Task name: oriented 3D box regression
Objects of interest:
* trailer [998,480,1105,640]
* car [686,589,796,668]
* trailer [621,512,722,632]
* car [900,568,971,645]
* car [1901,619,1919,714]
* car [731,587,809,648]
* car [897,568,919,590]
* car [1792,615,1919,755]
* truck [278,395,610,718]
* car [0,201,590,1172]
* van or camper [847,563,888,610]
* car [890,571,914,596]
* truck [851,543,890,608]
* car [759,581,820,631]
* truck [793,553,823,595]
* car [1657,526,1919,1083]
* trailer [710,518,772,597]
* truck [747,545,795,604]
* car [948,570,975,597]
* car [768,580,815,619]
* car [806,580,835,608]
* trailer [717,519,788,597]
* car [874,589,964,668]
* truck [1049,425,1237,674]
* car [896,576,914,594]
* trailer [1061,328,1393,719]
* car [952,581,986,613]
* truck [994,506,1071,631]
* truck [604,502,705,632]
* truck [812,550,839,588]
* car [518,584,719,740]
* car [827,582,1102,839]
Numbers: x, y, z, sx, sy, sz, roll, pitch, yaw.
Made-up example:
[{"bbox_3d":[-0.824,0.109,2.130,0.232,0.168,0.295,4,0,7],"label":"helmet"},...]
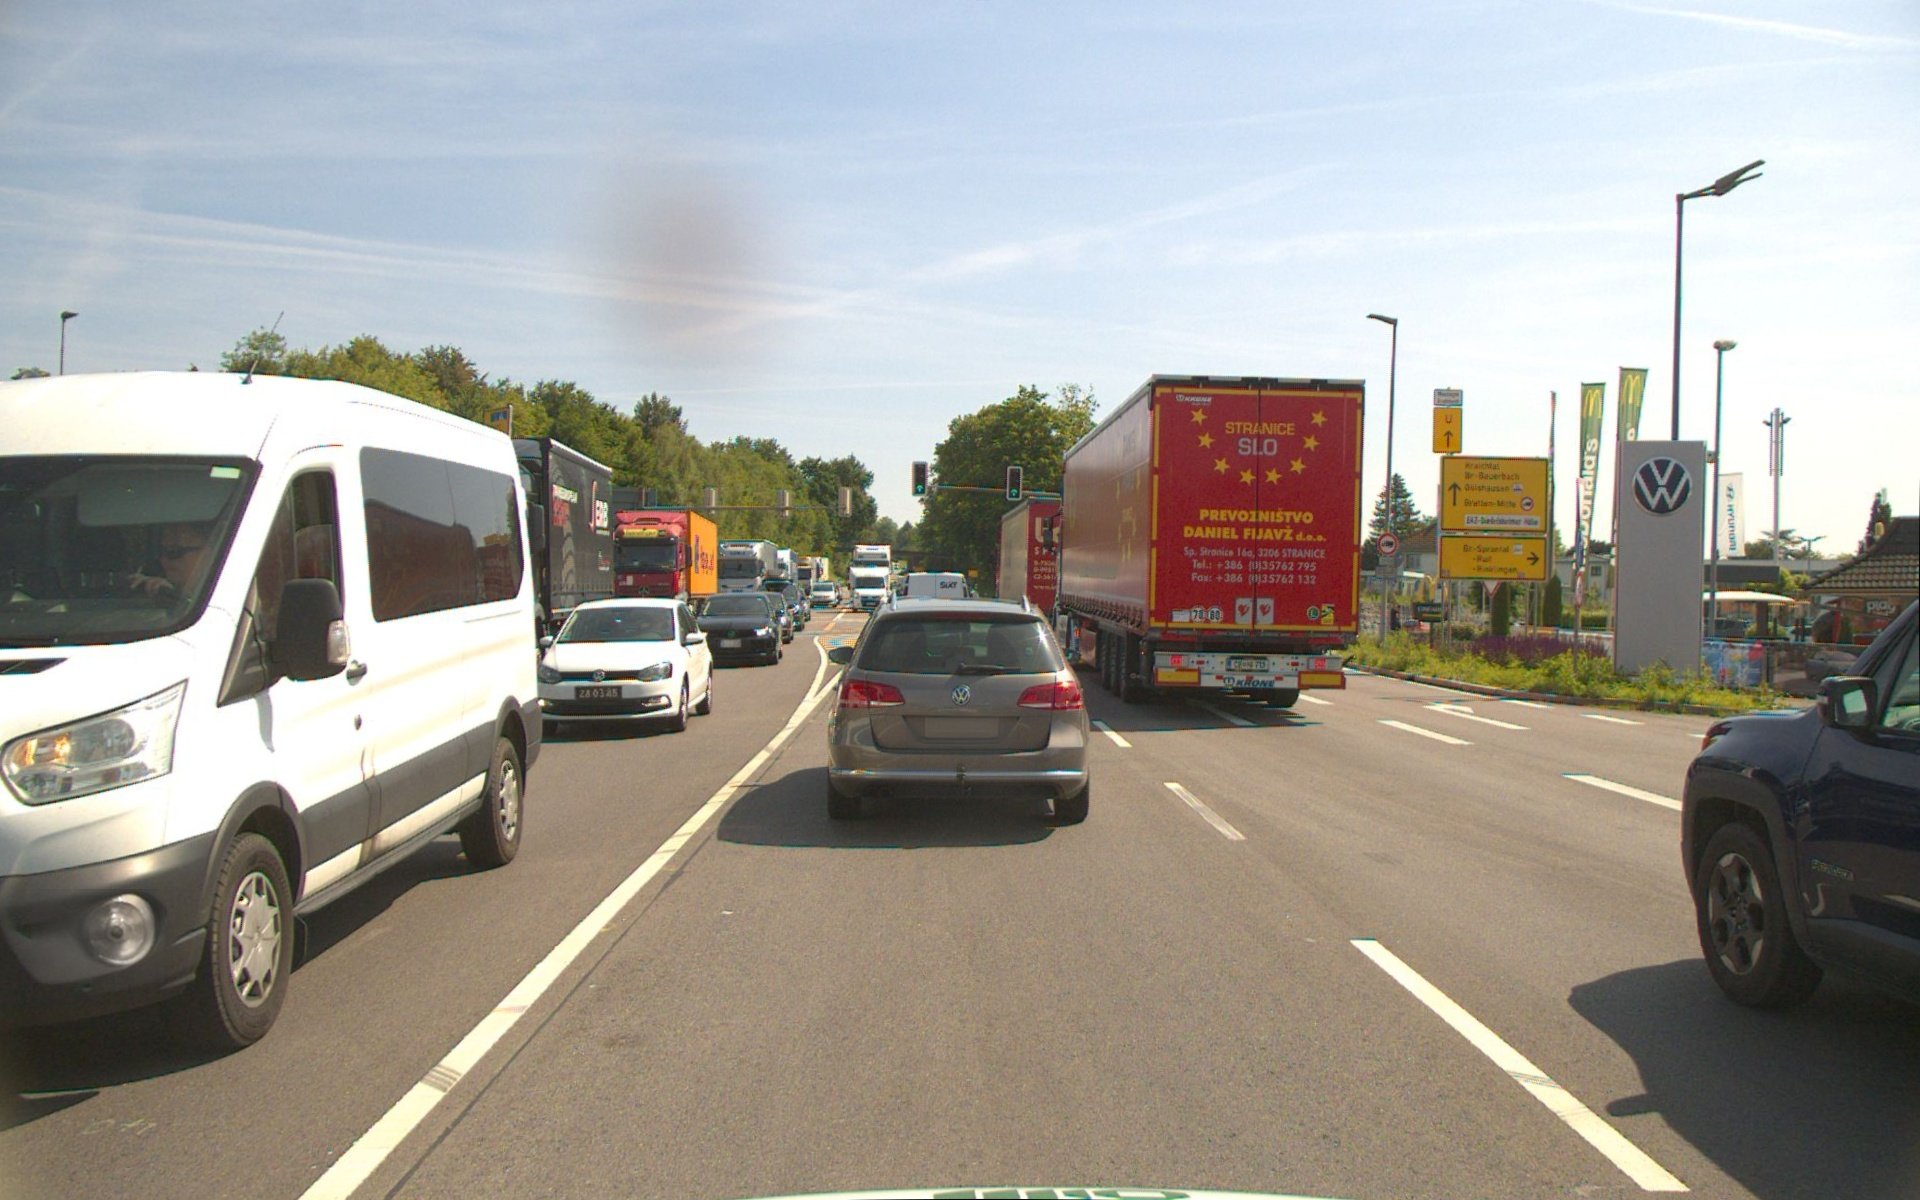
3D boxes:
[{"bbox_3d":[2.633,-1.134,51.423,2.346,4.317,13.075,0,0,-1],"label":"trailer"},{"bbox_3d":[-4.469,0.544,34.263,1.677,1.469,4.378,-2,0,0],"label":"car"},{"bbox_3d":[-10.690,-0.996,62.446,2.667,4.068,12.223,0,0,-5],"label":"trailer"},{"bbox_3d":[-0.701,0.149,44.801,1.735,1.970,3.975,0,0,-3],"label":"car"},{"bbox_3d":[18.547,1.190,30.442,1.823,1.604,4.220,0,0,34],"label":"car"},{"bbox_3d":[-5.301,0.456,46.600,1.824,1.550,4.586,-1,1,-3],"label":"car"},{"bbox_3d":[-4.877,-1.924,154.068,1.954,2.049,3.998,0,0,-3],"label":"car"},{"bbox_3d":[11.341,1.051,16.814,4.737,1.355,1.952,5,-1,44],"label":"car"},{"bbox_3d":[-7.580,-0.589,25.924,2.657,4.068,9.969,0,0,-4],"label":"truck"},{"bbox_3d":[-3.379,0.202,7.858,2.018,2.554,7.110,0,0,-3],"label":"car"},{"bbox_3d":[-5.334,-0.801,96.474,2.283,2.645,6.976,0,0,-2],"label":"van or camper"},{"bbox_3d":[-4.866,-1.406,138.630,1.954,2.049,3.998,0,0,-3],"label":"car"},{"bbox_3d":[-5.992,-1.612,110.249,2.487,4.159,6.261,0,0,-4],"label":"truck"},{"bbox_3d":[-5.957,0.180,58.241,1.870,1.630,4.586,-1,1,-3],"label":"car"},{"bbox_3d":[-15.110,-2.550,165.278,2.675,4.069,9.614,0,0,-3],"label":"truck"},{"bbox_3d":[3.772,0.619,4.832,1.734,1.683,3.999,0,0,-1],"label":"car"},{"bbox_3d":[-11.887,-2.256,90.148,2.591,4.176,6.180,0,0,-1],"label":"trailer"},{"bbox_3d":[-13.636,-1.819,119.979,3.124,4.151,6.342,0,0,-3],"label":"truck"},{"bbox_3d":[0.098,-1.313,130.804,1.954,2.049,3.998,0,0,-3],"label":"car"},{"bbox_3d":[-7.562,-0.039,74.511,1.883,1.630,4.586,-1,1,-3],"label":"car"},{"bbox_3d":[-9.502,-0.425,112.692,1.806,1.763,4.586,2,1,-3],"label":"car"},{"bbox_3d":[-11.966,-2.308,96.612,2.637,4.220,13.877,0,0,-1],"label":"trailer"},{"bbox_3d":[-0.902,0.545,34.473,1.735,1.539,3.997,0,0,-3],"label":"car"},{"bbox_3d":[3.431,-0.924,32.532,2.812,4.355,5.838,2,0,-1],"label":"truck"},{"bbox_3d":[-6.161,-1.699,186.265,1.954,2.049,3.998,0,0,-3],"label":"car"},{"bbox_3d":[3.510,-0.932,25.823,2.781,4.441,13.165,2,0,-1],"label":"trailer"},{"bbox_3d":[0.559,-0.234,107.953,1.954,2.049,3.998,0,0,-3],"label":"car"},{"bbox_3d":[2.478,-1.076,58.007,2.357,4.200,5.520,0,0,-1],"label":"truck"},{"bbox_3d":[-10.042,-1.057,54.872,2.667,4.068,6.051,0,0,-5],"label":"truck"},{"bbox_3d":[-14.878,-3.379,182.975,2.773,4.188,9.675,0,0,-4],"label":"truck"},{"bbox_3d":[-3.856,0.632,19.267,1.620,1.583,3.998,-2,0,-2],"label":"car"},{"bbox_3d":[-0.082,0.645,11.944,1.658,1.539,3.997,0,0,-3],"label":"car"}]
